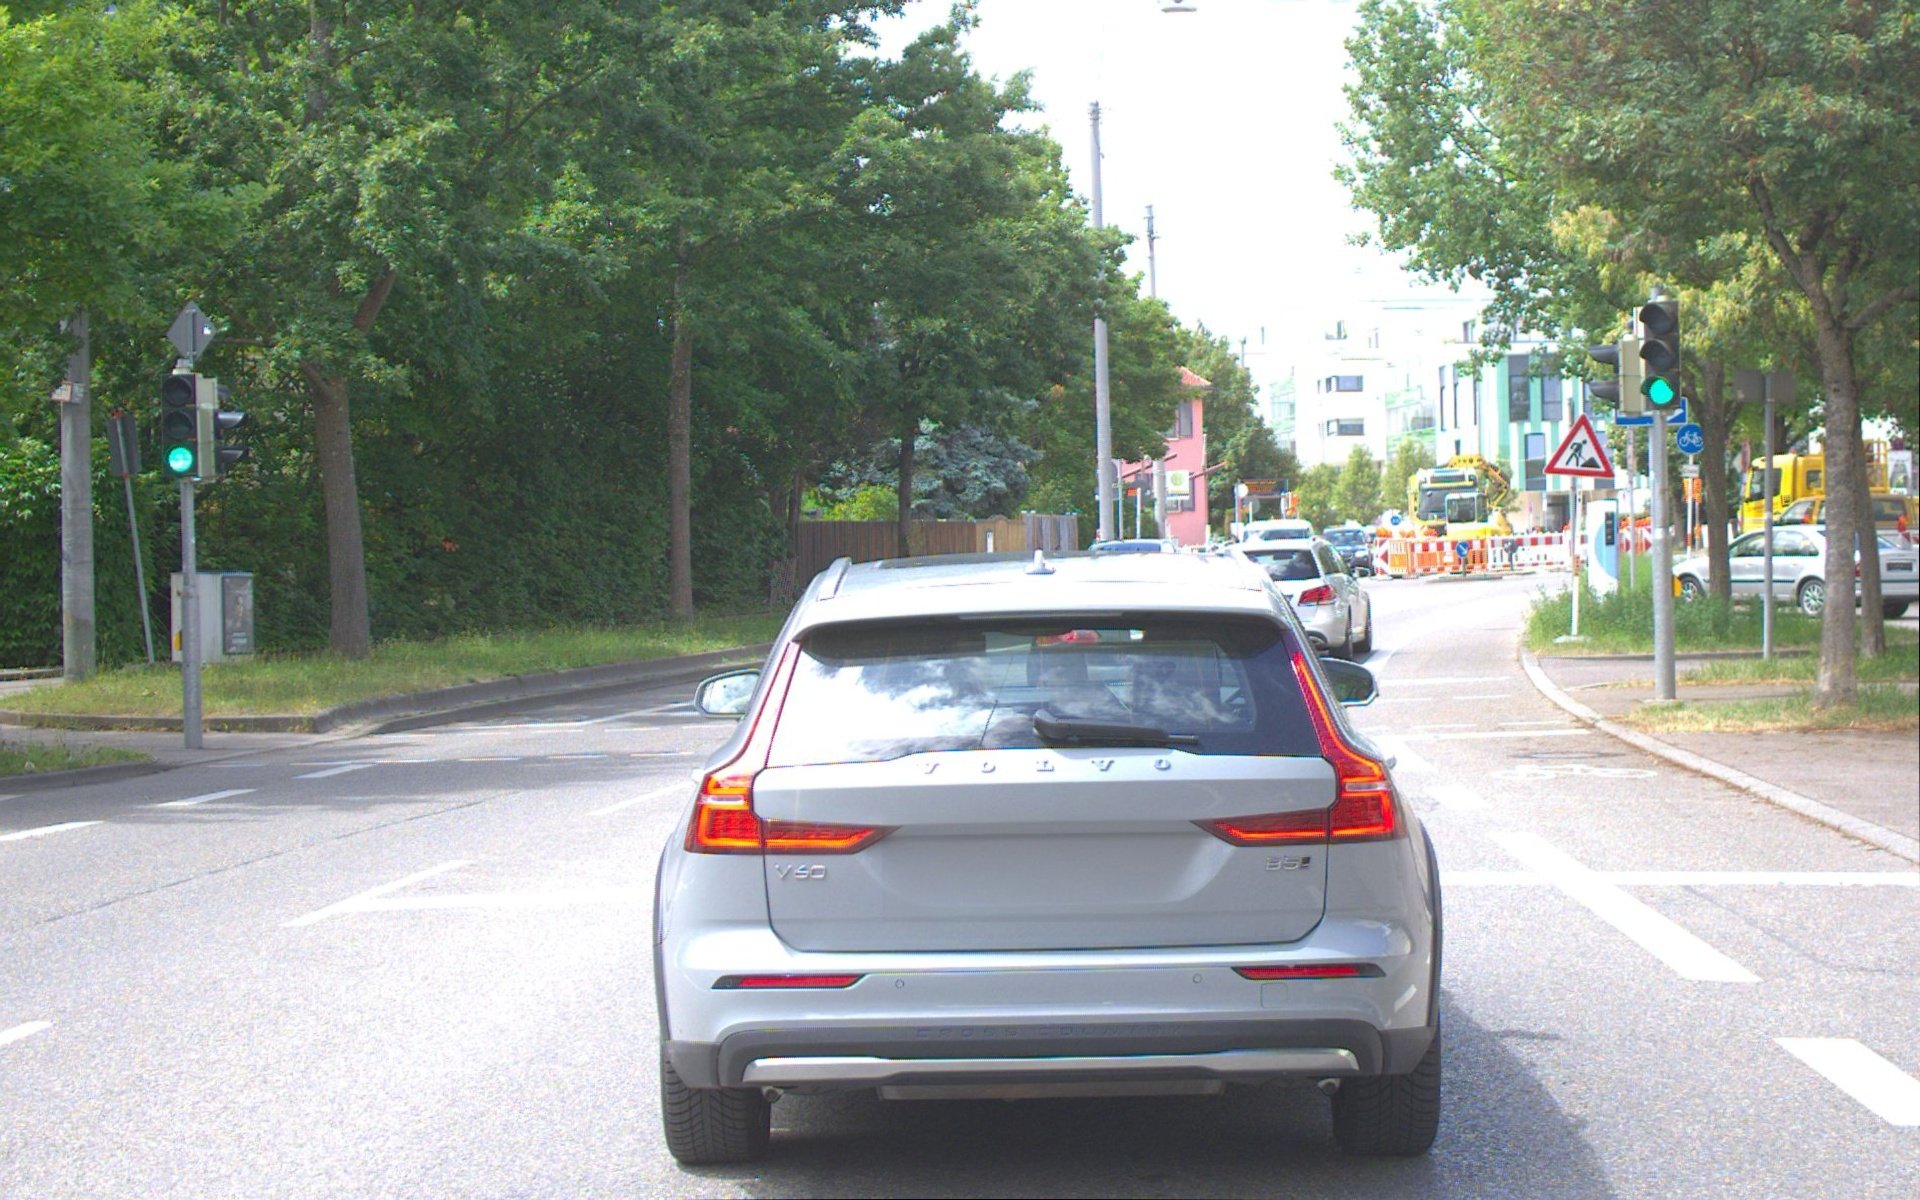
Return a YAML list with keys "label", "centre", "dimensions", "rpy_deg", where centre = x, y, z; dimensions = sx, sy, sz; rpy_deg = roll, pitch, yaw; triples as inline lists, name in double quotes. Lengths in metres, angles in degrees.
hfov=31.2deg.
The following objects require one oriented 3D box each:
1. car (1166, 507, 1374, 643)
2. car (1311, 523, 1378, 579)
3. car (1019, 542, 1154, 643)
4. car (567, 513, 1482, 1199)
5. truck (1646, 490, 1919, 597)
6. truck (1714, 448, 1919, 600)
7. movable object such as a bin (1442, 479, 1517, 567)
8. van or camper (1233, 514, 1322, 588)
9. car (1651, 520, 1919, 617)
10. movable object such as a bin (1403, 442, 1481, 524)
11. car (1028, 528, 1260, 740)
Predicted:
- label: "car"
  centre: [3.763, -0.291, 41.137]
  dimensions: [2.103, 1.505, 3.998]
  rpy_deg: [1, 0, 10]
- label: "car"
  centre: [12.590, -1.584, 112.329]
  dimensions: [1.994, 1.731, 3.999]
  rpy_deg: [1, 0, 9]
- label: "car"
  centre: [2.159, -0.123, 57.678]
  dimensions: [1.899, 1.574, 3.999]
  rpy_deg: [-2, 0, 7]
- label: "car"
  centre: [0.216, 0.575, 9.293]
  dimensions: [1.928, 1.535, 4.000]
  rpy_deg: [0, 0, 2]
- label: "truck"
  centre: [16.501, -1.122, 68.592]
  dimensions: [1.994, 2.007, 5.677]
  rpy_deg: [1, 0, -35]
- label: "truck"
  centre: [18.907, -1.518, 70.320]
  dimensions: [2.761, 2.998, 6.706]
  rpy_deg: [1, 0, -34]
- label: "movable object such as a bin"
  centre: [16.479, -2.437, 108.864]
  dimensions: [2.035, 2.634, 5.937]
  rpy_deg: [-2, 1, 11]
- label: "van or camper"
  centre: [7.967, -1.246, 85.950]
  dimensions: [1.861, 1.770, 4.379]
  rpy_deg: [-1, 1, 9]
- label: "car"
  centre: [13.107, -0.521, 53.783]
  dimensions: [1.762, 1.447, 4.689]
  rpy_deg: [-1, 1, -32]
- label: "movable object such as a bin"
  centre: [18.501, -4.452, 132.181]
  dimensions: [2.310, 2.980, 6.426]
  rpy_deg: [-2, 1, 3]
- label: "car"
  centre: [1.417, 0.241, 27.007]
  dimensions: [1.661, 1.503, 3.702]
  rpy_deg: [2, 0, 2]
